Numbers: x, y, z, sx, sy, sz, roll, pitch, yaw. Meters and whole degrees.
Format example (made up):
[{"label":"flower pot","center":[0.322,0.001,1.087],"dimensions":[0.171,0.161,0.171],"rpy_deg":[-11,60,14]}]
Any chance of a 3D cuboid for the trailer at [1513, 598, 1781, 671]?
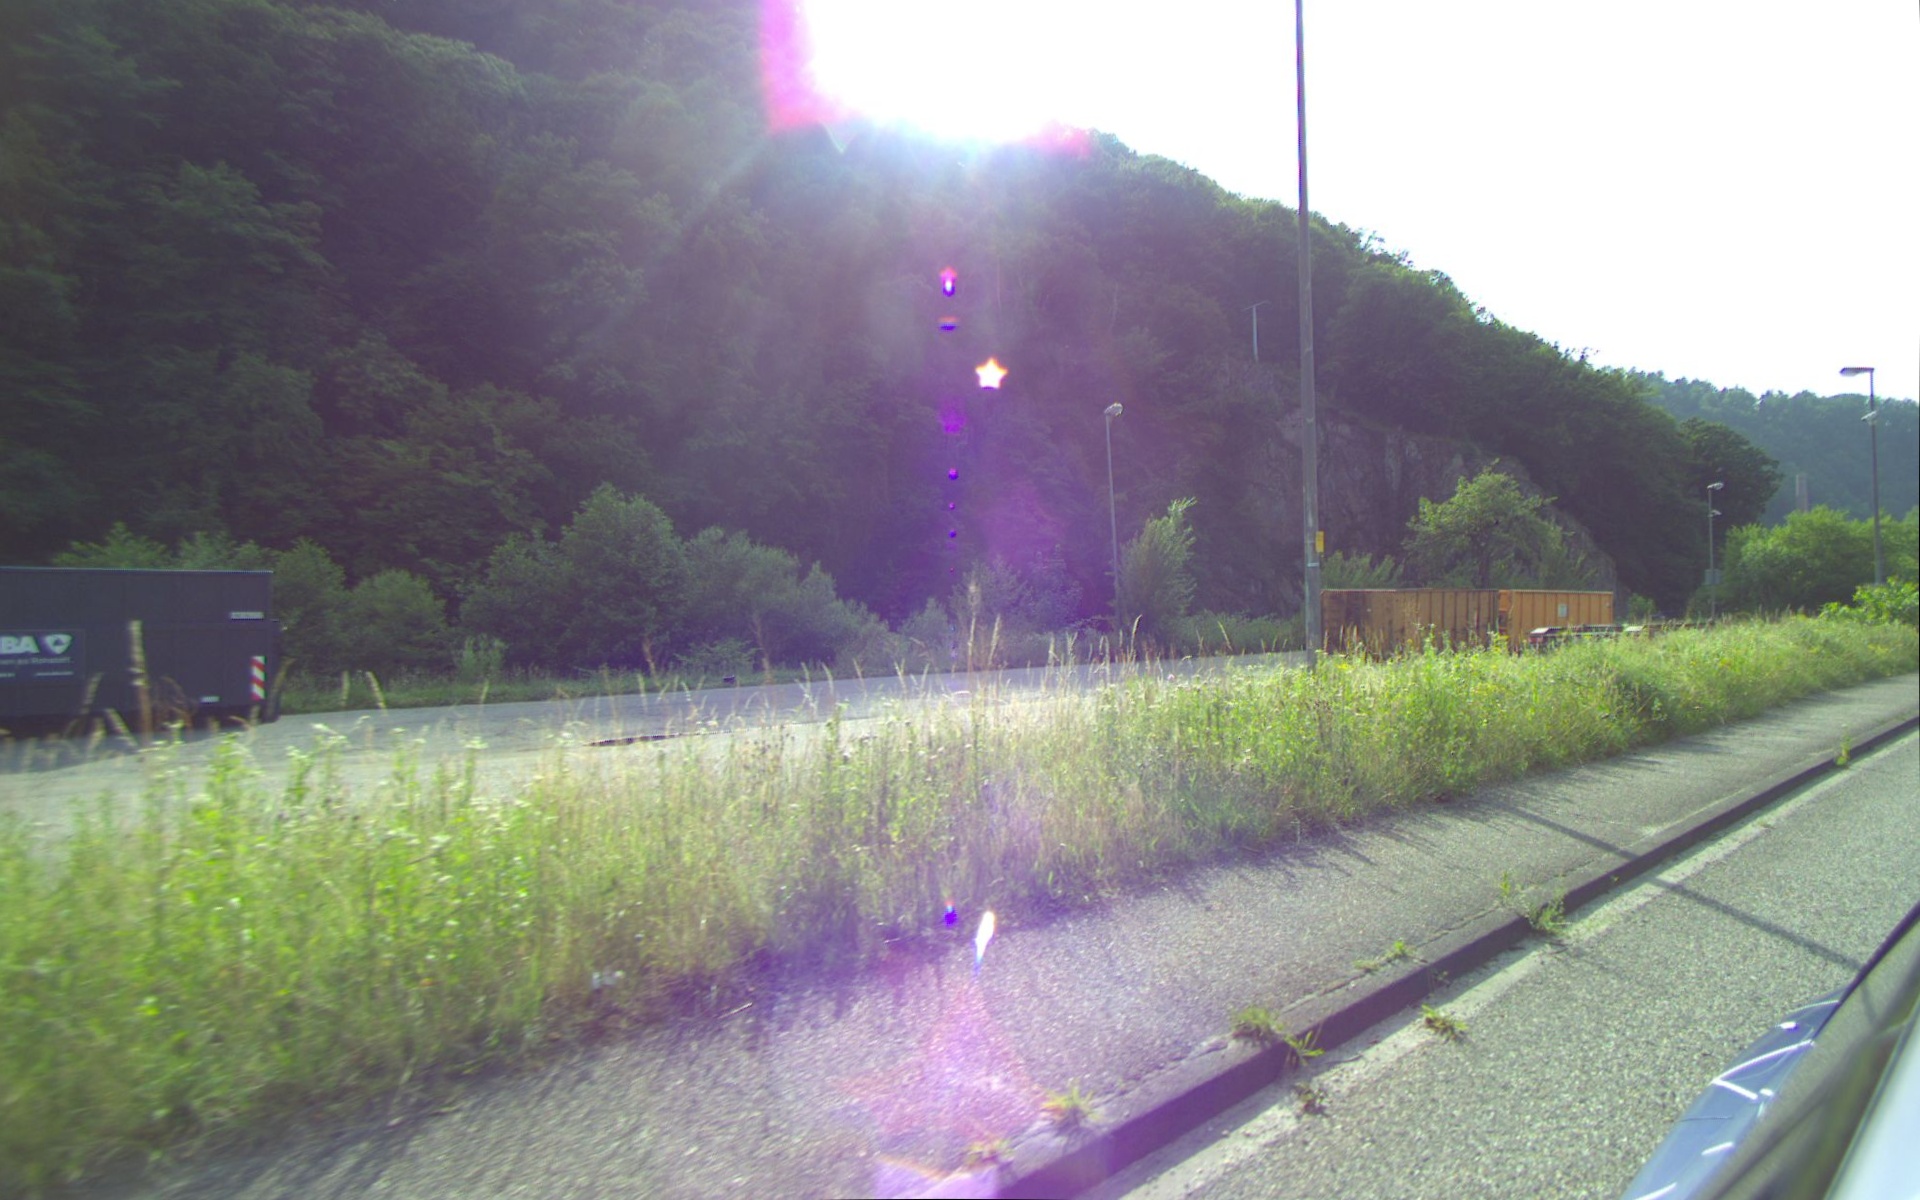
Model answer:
[{"label":"trailer","center":[17.337,0.790,25.155],"dimensions":[9.709,1.493,2.796],"rpy_deg":[0,-3,-39]}]
